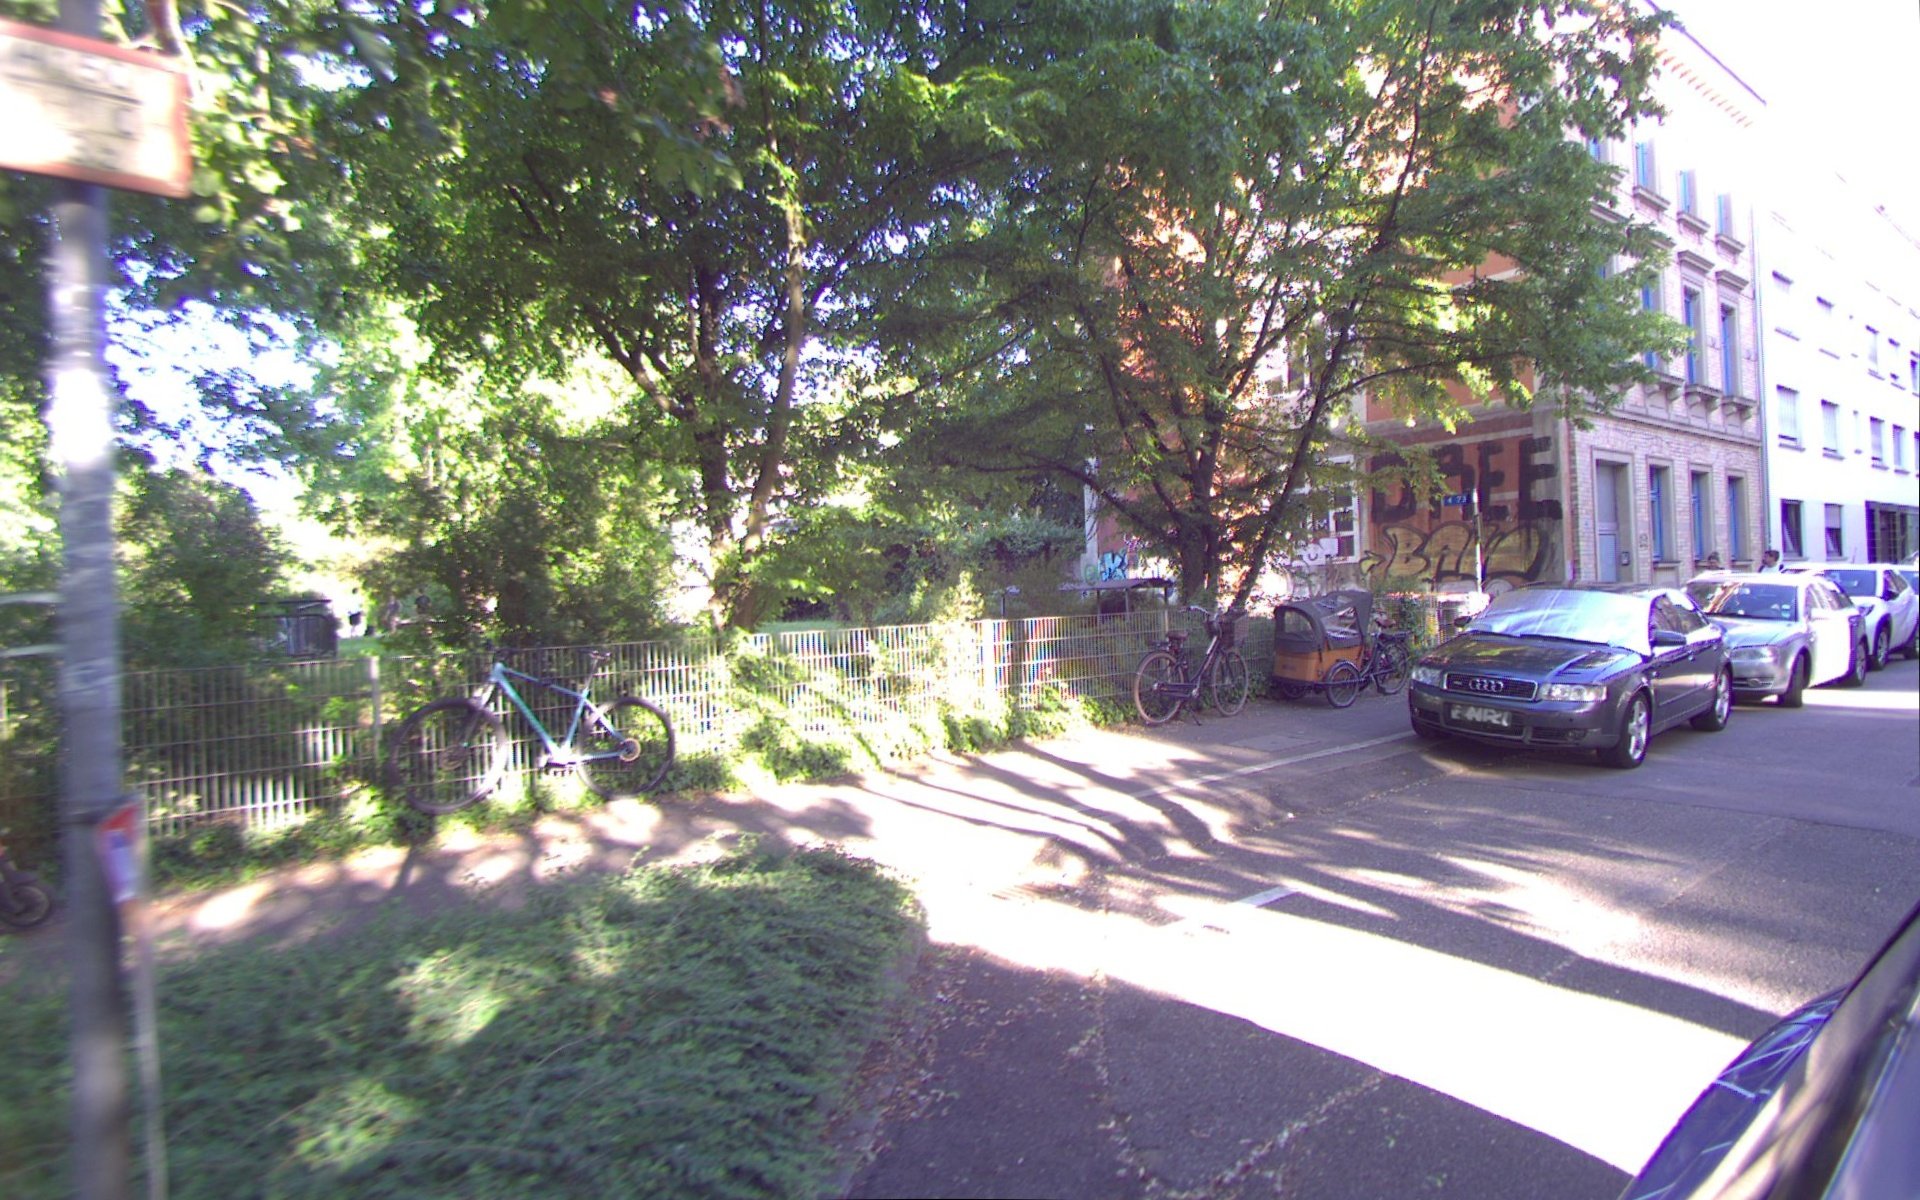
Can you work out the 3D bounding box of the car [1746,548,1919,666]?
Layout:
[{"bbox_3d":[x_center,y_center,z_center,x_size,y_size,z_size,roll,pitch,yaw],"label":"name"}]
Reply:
[{"bbox_3d":[13.676,0.029,15.583,3.695,1.605,1.597,-2,1,-37],"label":"car"}]

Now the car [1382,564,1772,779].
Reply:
[{"bbox_3d":[5.898,0.474,9.454,4.335,1.512,1.725,-3,2,-38],"label":"car"}]

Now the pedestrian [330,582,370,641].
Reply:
[{"bbox_3d":[-21.544,0.397,35.744,0.897,2.039,0.747,-2,0,10],"label":"pedestrian"}]

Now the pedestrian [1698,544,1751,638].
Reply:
[{"bbox_3d":[14.402,-0.180,19.074,0.693,1.730,0.599,-2,3,-37],"label":"pedestrian"}]

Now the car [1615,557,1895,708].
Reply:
[{"bbox_3d":[9.807,0.273,12.377,4.274,1.512,1.664,-3,2,-37],"label":"car"}]

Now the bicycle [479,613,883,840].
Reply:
[{"bbox_3d":[-1.913,0.778,7.244,2.641,1.284,0.849,-2,0,-36],"label":"bicycle"}]

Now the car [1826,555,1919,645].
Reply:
[{"bbox_3d":[17.076,-0.070,18.229,3.932,1.468,1.597,-3,2,-40],"label":"car"}]

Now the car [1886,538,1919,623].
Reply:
[{"bbox_3d":[20.894,-0.449,20.907,4.247,1.687,1.771,-2,1,-36],"label":"car"}]

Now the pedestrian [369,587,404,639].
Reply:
[{"bbox_3d":[-23.005,0.529,40.596,0.897,2.039,0.747,-2,0,10],"label":"pedestrian"}]

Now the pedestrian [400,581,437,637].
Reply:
[{"bbox_3d":[-19.948,0.321,37.272,0.897,2.039,0.747,-2,0,10],"label":"pedestrian"}]

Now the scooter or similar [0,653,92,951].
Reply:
[{"bbox_3d":[-4.631,0.922,4.197,0.540,1.277,1.463,-1,1,22],"label":"scooter or similar"}]

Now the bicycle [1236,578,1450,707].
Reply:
[{"bbox_3d":[4.534,0.430,11.952,2.283,1.318,1.295,-2,2,-34],"label":"bicycle"}]

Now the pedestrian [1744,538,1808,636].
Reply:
[{"bbox_3d":[14.817,-0.252,18.372,0.738,1.730,0.712,-2,3,-37],"label":"pedestrian"}]

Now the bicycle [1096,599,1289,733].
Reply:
[{"bbox_3d":[2.420,0.624,10.453,1.944,1.216,0.849,-2,0,-36],"label":"bicycle"}]
